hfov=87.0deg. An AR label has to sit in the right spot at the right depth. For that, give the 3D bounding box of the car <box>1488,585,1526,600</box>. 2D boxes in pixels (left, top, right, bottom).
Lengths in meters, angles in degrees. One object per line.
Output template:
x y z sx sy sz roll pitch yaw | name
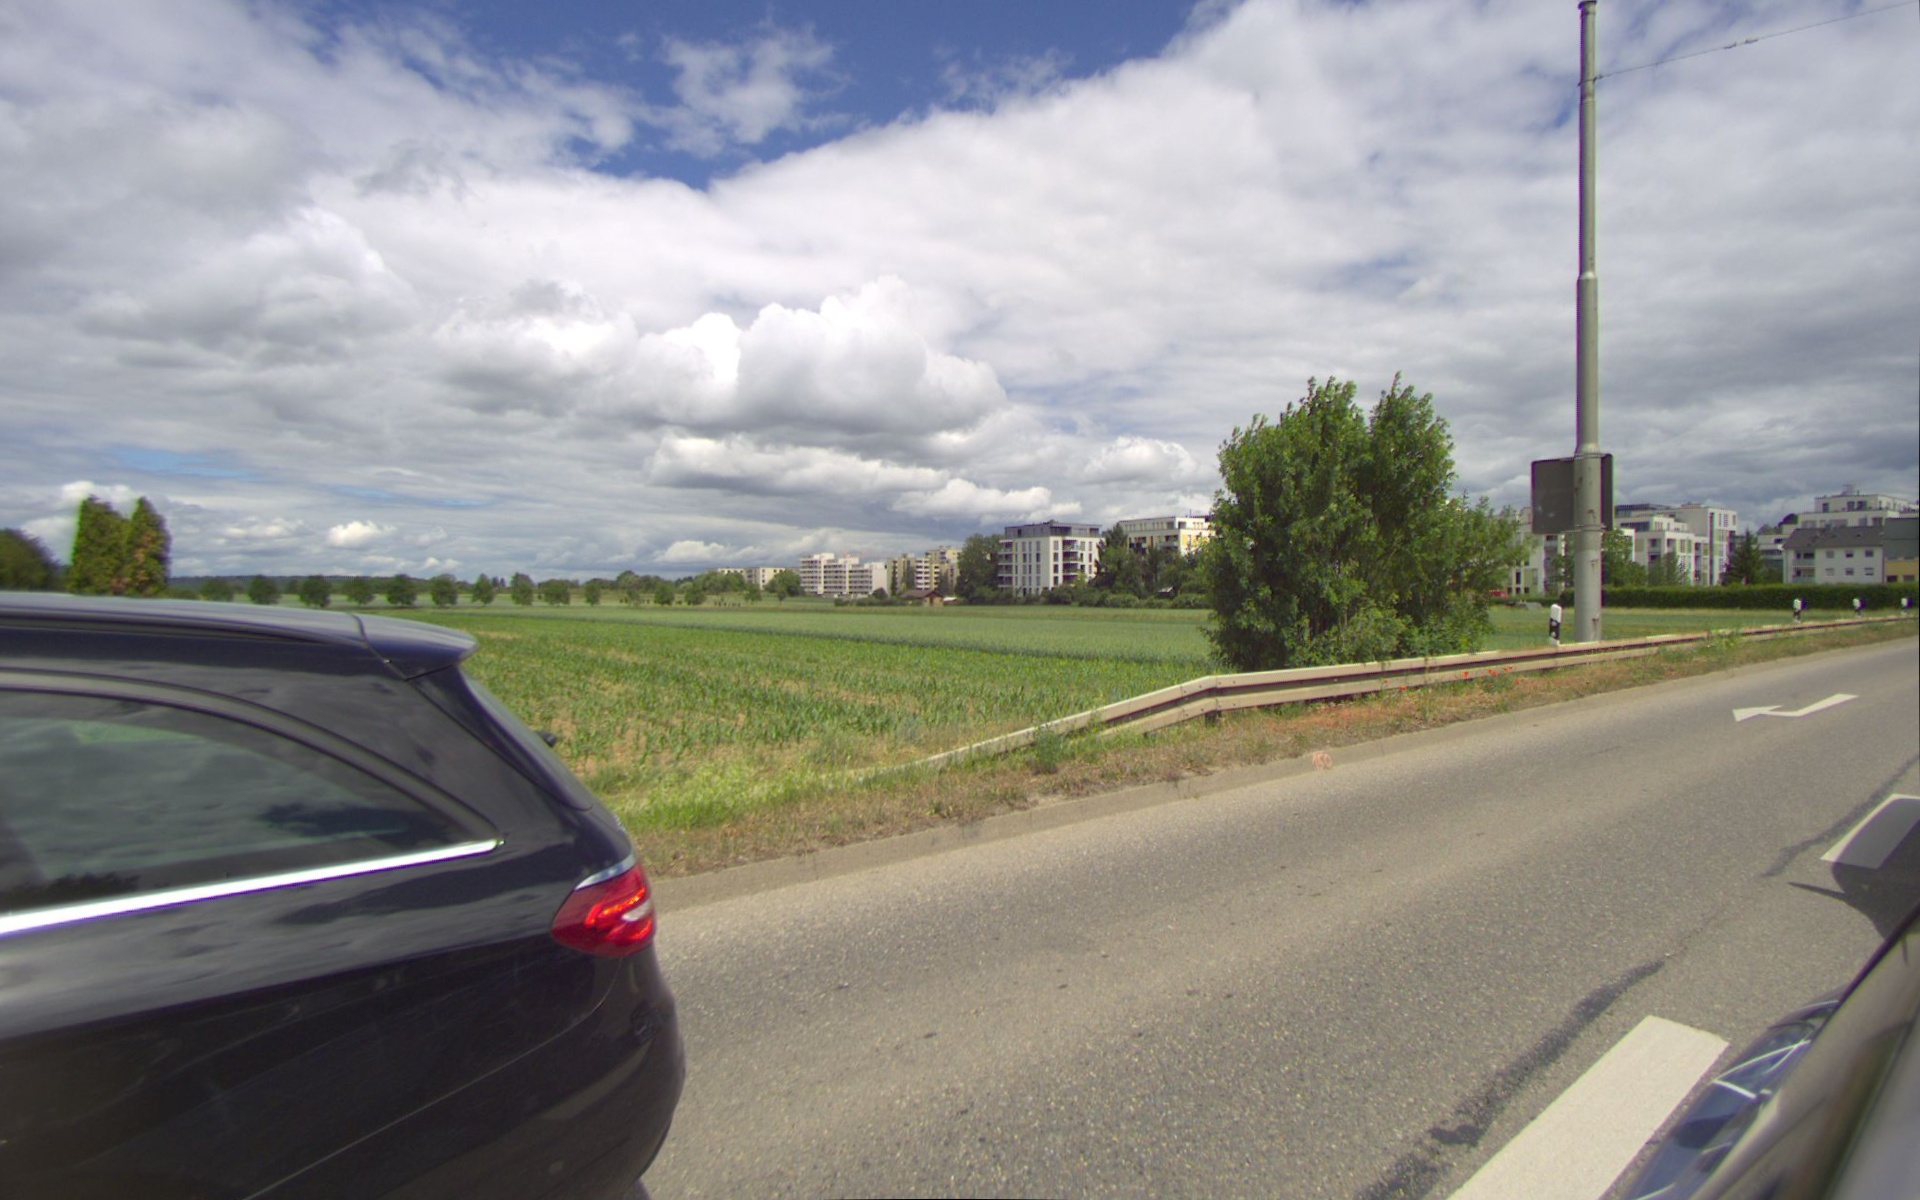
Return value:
78.855 -1.116 145.941 1.964 2.038 4.436 -1 2 -39 | car

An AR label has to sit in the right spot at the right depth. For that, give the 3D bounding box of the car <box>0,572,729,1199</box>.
-2.813 0.696 0.982 4.720 1.557 1.841 2 0 -41 | car
